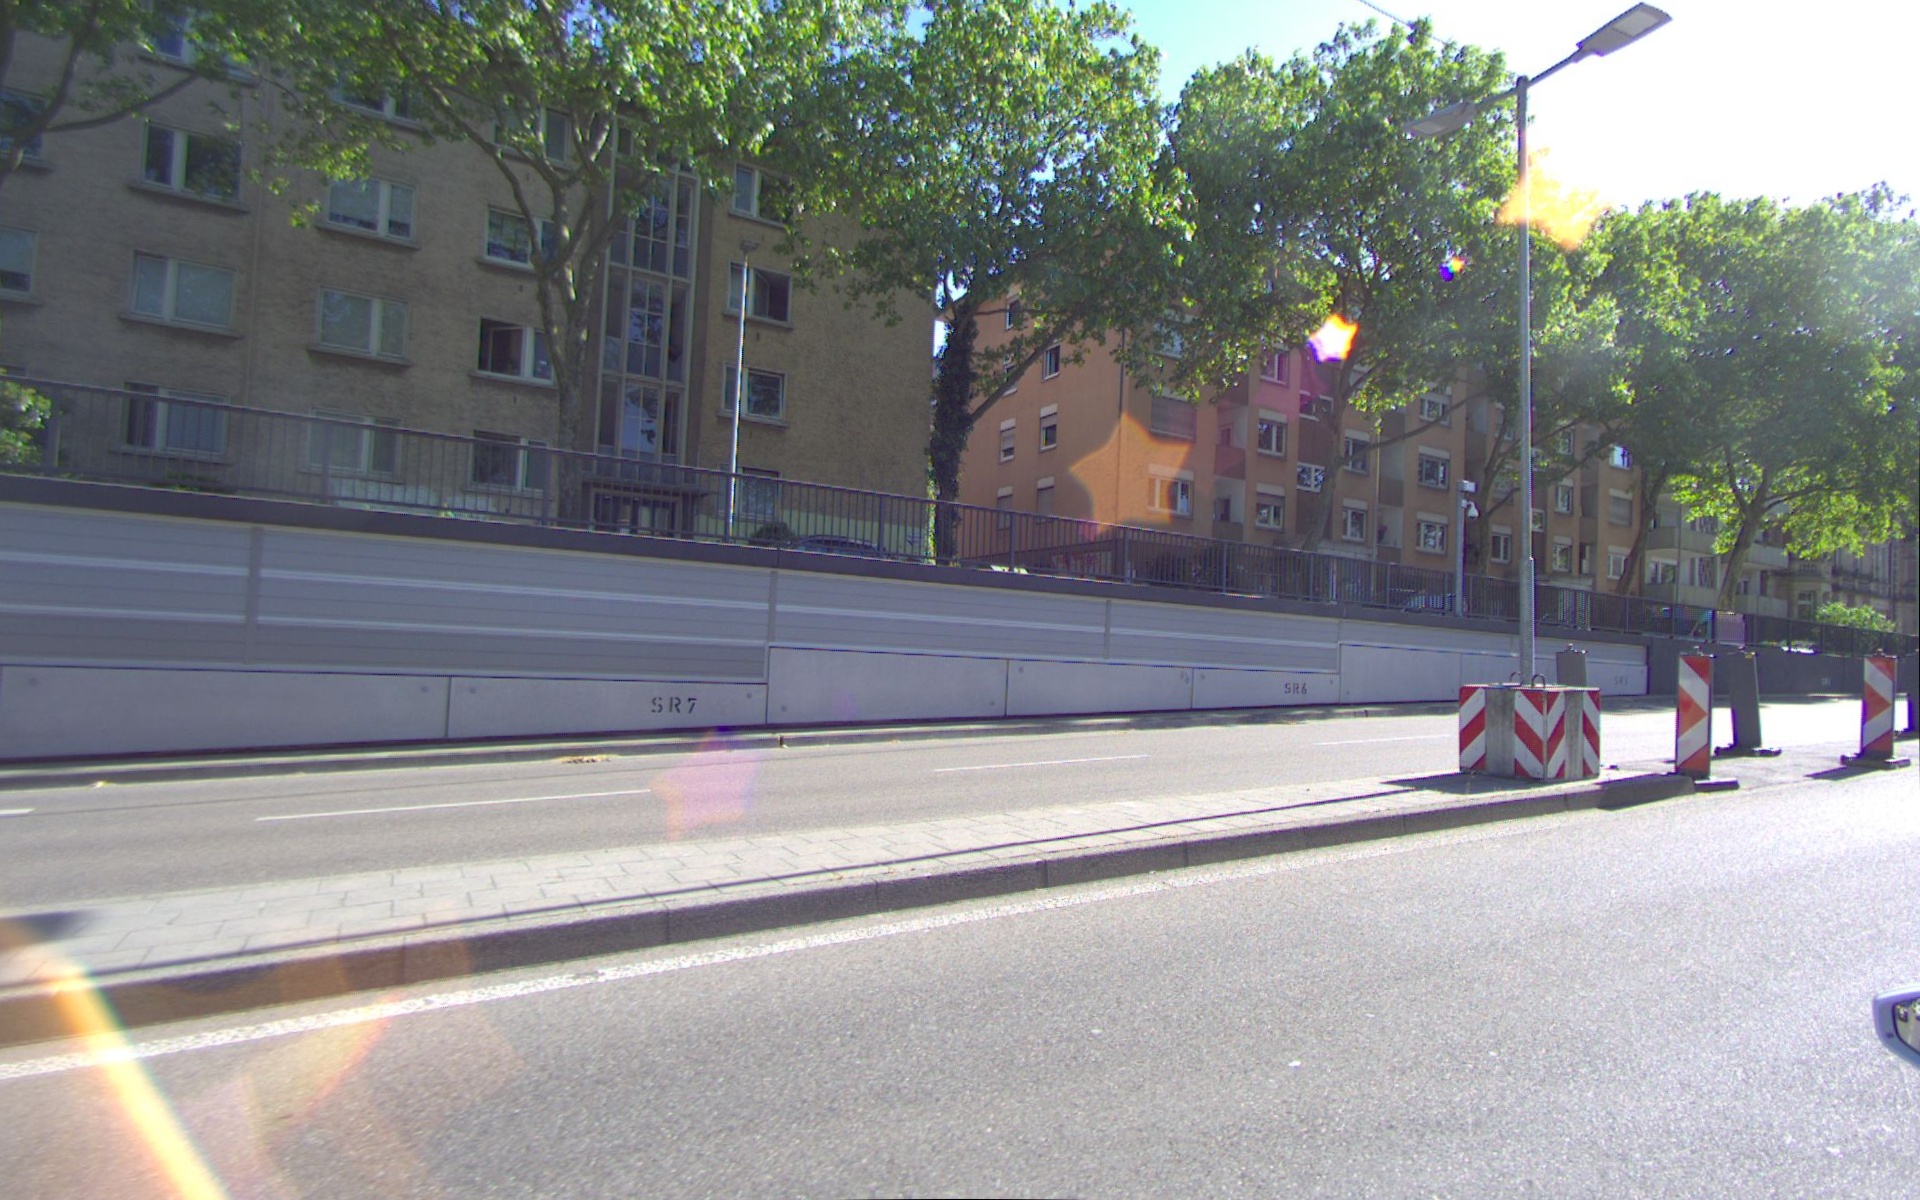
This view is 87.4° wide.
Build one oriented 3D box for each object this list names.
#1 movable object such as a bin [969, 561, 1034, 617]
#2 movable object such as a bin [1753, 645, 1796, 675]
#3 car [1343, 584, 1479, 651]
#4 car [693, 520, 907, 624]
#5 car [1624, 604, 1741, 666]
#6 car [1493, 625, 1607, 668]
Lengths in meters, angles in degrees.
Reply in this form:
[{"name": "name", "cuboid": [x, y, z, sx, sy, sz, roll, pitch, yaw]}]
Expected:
[{"name": "movable object such as a bin", "cuboid": [1.181, -0.306, 28.474, 1.346, 1.503, 1.197, 4, -1, -38]}, {"name": "movable object such as a bin", "cuboid": [41.065, 3.021, 50.621, 1.286, 1.420, 1.273, 4, -1, -29]}, {"name": "car", "cuboid": [15.168, 0.610, 33.717, 4.479, 1.986, 1.955, 4, -1, -32]}, {"name": "car", "cuboid": [-3.617, -0.569, 22.878, 4.363, 1.986, 1.956, 4, -1, -30]}, {"name": "car", "cuboid": [31.138, 1.513, 43.269, 5.354, 2.390, 1.985, 4, -1, -29]}, {"name": "car", "cuboid": [22.445, 1.755, 38.194, 4.124, 1.407, 1.984, 4, -1, -30]}]
